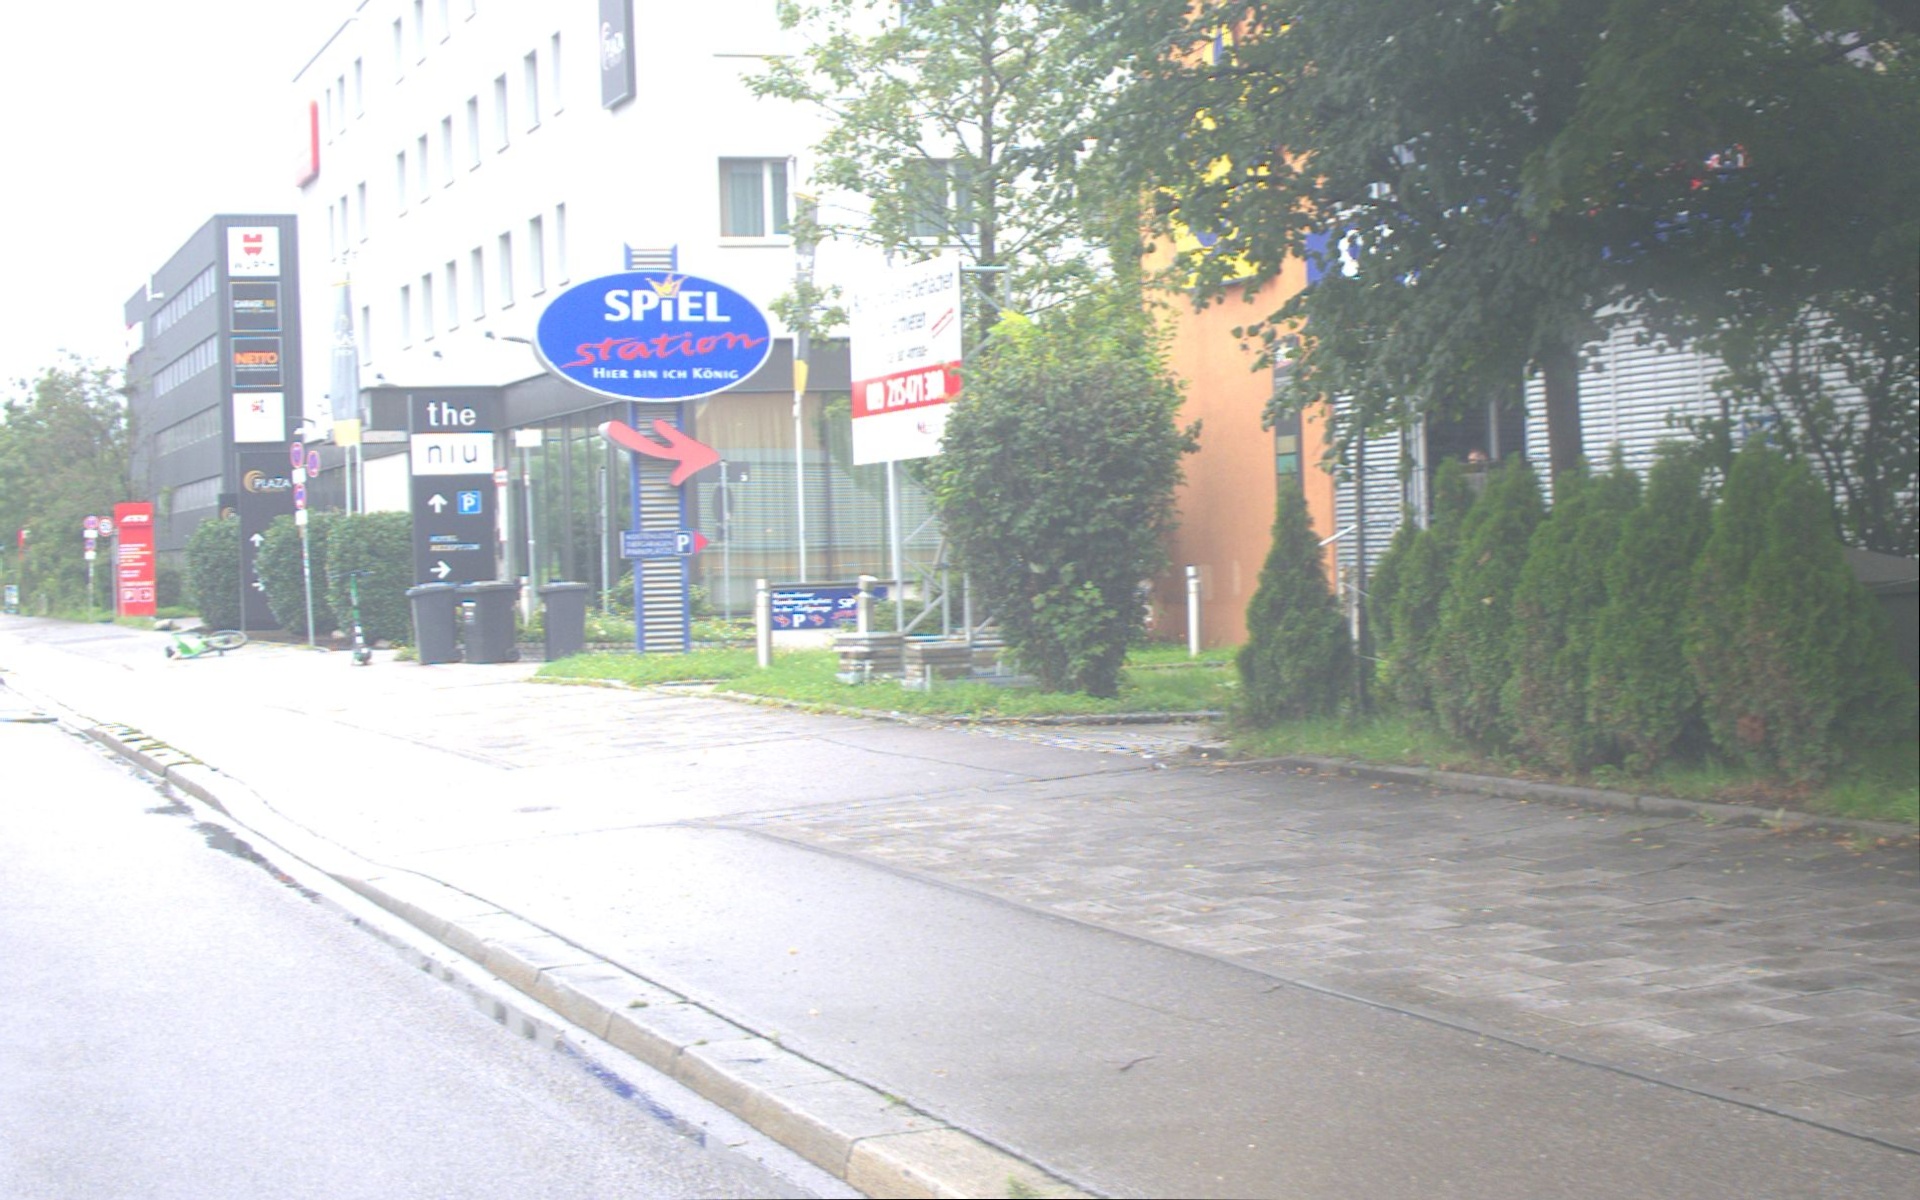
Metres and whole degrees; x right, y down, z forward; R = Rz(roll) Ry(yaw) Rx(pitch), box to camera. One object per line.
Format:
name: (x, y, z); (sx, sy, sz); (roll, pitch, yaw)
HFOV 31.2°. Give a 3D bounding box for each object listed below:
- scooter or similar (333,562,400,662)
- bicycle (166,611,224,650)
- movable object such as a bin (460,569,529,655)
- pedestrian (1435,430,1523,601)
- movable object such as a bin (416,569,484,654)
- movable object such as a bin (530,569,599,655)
scooter or similar: (-8.107, 0.154, 46.948); (0.585, 1.273, 1.404); (-7, 2, -17)
bicycle: (-12.615, 0.499, 56.690); (0.719, 0.547, 1.733); (-6, 2, -18)
movable object such as a bin: (-6.042, 0.147, 44.629); (0.737, 1.074, 0.655); (-3, 1, -17)
pedestrian: (5.310, -0.864, 35.217); (0.658, 1.706, 0.663); (-3, 1, -7)
movable object such as a bin: (-6.713, 0.148, 45.216); (0.737, 1.074, 0.655); (-3, 1, -17)
movable object such as a bin: (-5.189, 0.152, 45.049); (0.737, 1.074, 0.655); (-3, 1, -17)
